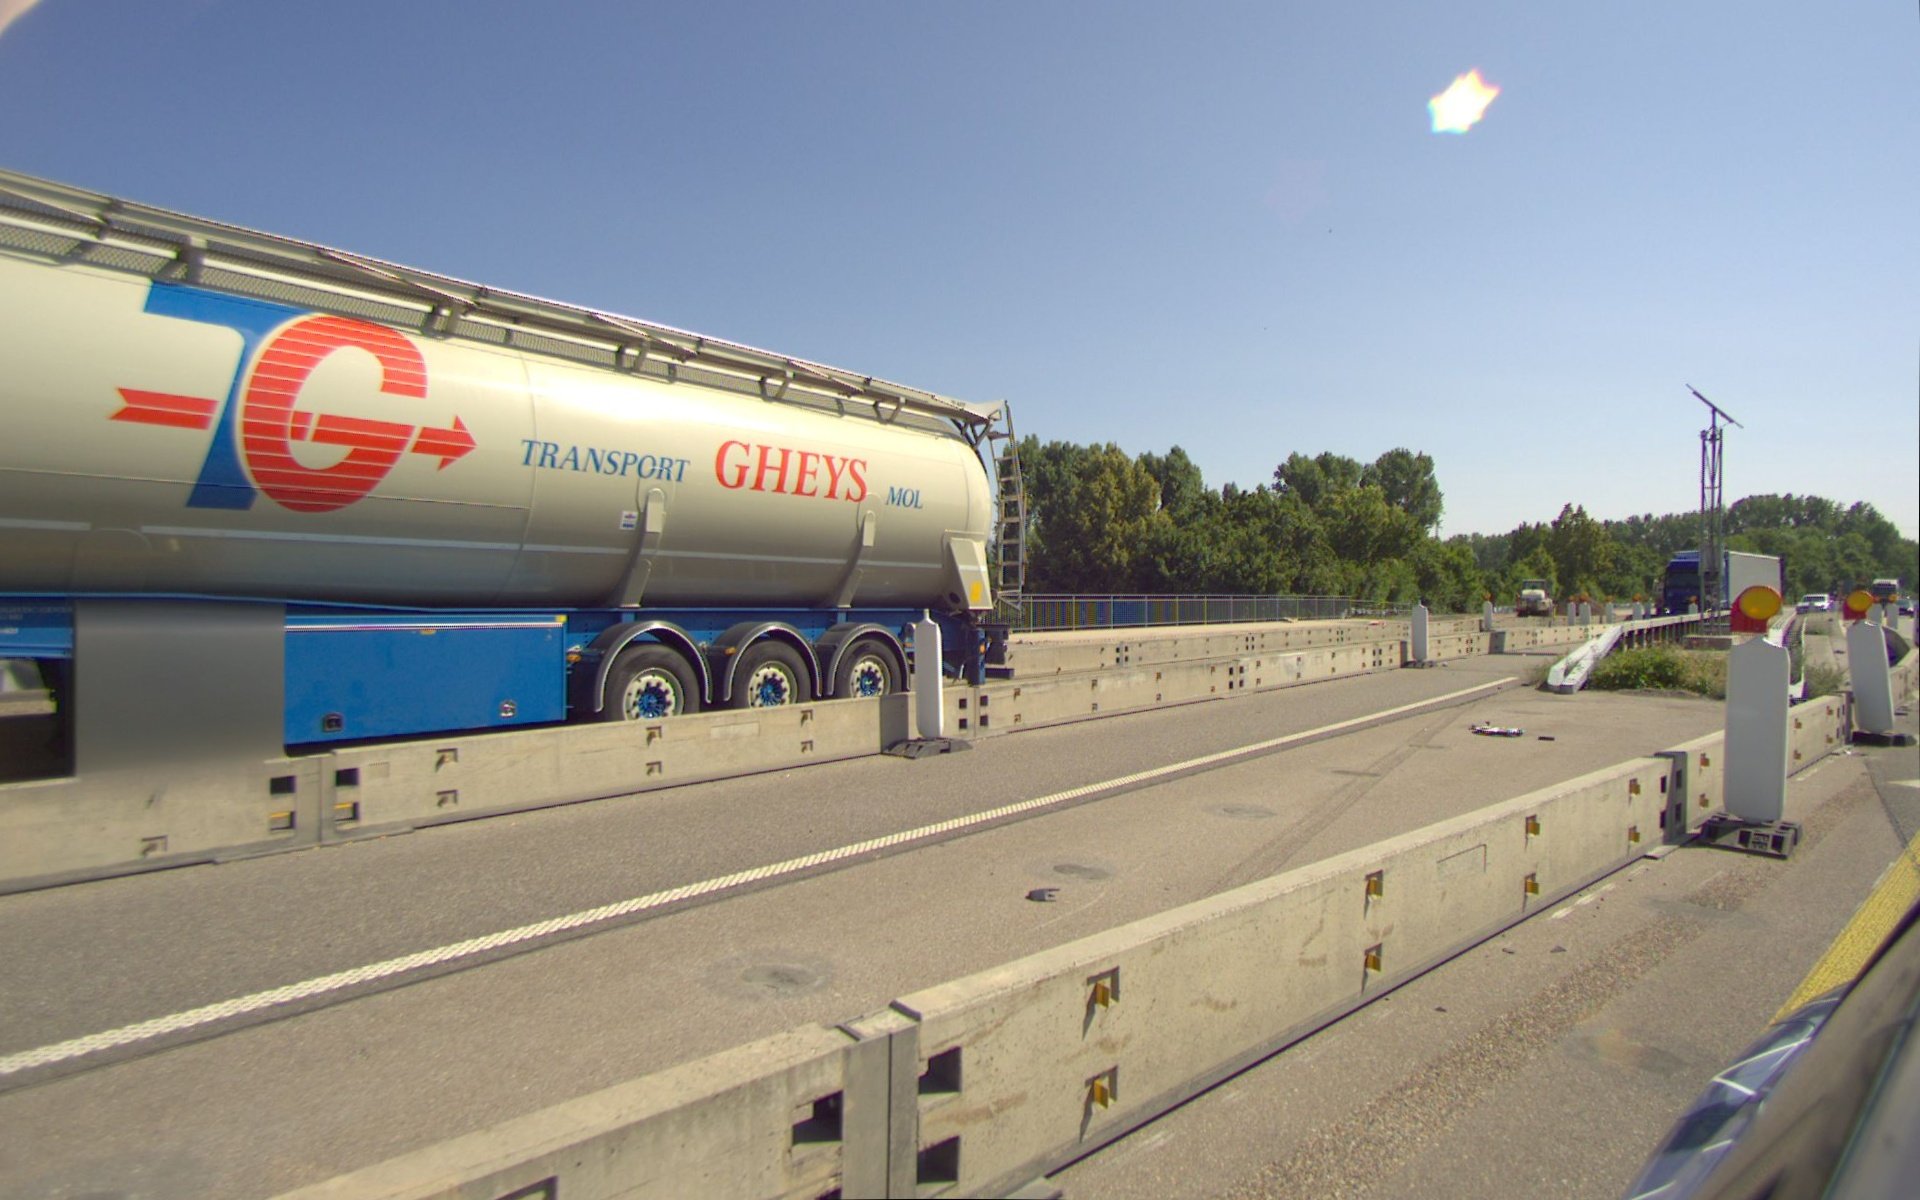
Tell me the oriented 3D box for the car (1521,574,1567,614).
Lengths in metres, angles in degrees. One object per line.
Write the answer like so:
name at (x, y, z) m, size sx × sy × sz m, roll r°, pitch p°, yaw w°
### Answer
car at (40.673, -0.435, 70.428) m, size 2.099 × 2.675 × 5.906 m, roll 1°, pitch 1°, yaw 36°

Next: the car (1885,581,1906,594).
car at (115.863, -1.562, 125.318) m, size 4.026 × 1.650 × 1.744 m, roll -1°, pitch 2°, yaw -45°

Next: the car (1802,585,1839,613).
car at (65.397, -0.076, 76.881) m, size 1.993 × 2.039 × 3.939 m, roll 2°, pitch 2°, yaw 42°

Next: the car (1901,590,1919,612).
car at (74.149, 0.097, 78.439) m, size 1.743 × 1.650 × 4.028 m, roll 2°, pitch 2°, yaw 43°

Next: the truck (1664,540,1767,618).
truck at (42.398, -1.161, 56.655) m, size 8.515 × 4.034 × 2.859 m, roll 0°, pitch 1°, yaw -41°

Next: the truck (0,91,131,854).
truck at (-8.230, -0.691, 4.141) m, size 2.692 × 4.153 × 7.191 m, roll 1°, pitch 1°, yaw 41°

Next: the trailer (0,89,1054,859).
trailer at (-3.949, -0.742, 8.989) m, size 2.692 × 4.189 × 12.424 m, roll 1°, pitch 1°, yaw 41°

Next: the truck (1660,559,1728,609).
truck at (53.836, -1.151, 74.131) m, size 8.592 × 3.475 × 2.601 m, roll -1°, pitch 2°, yaw -45°
